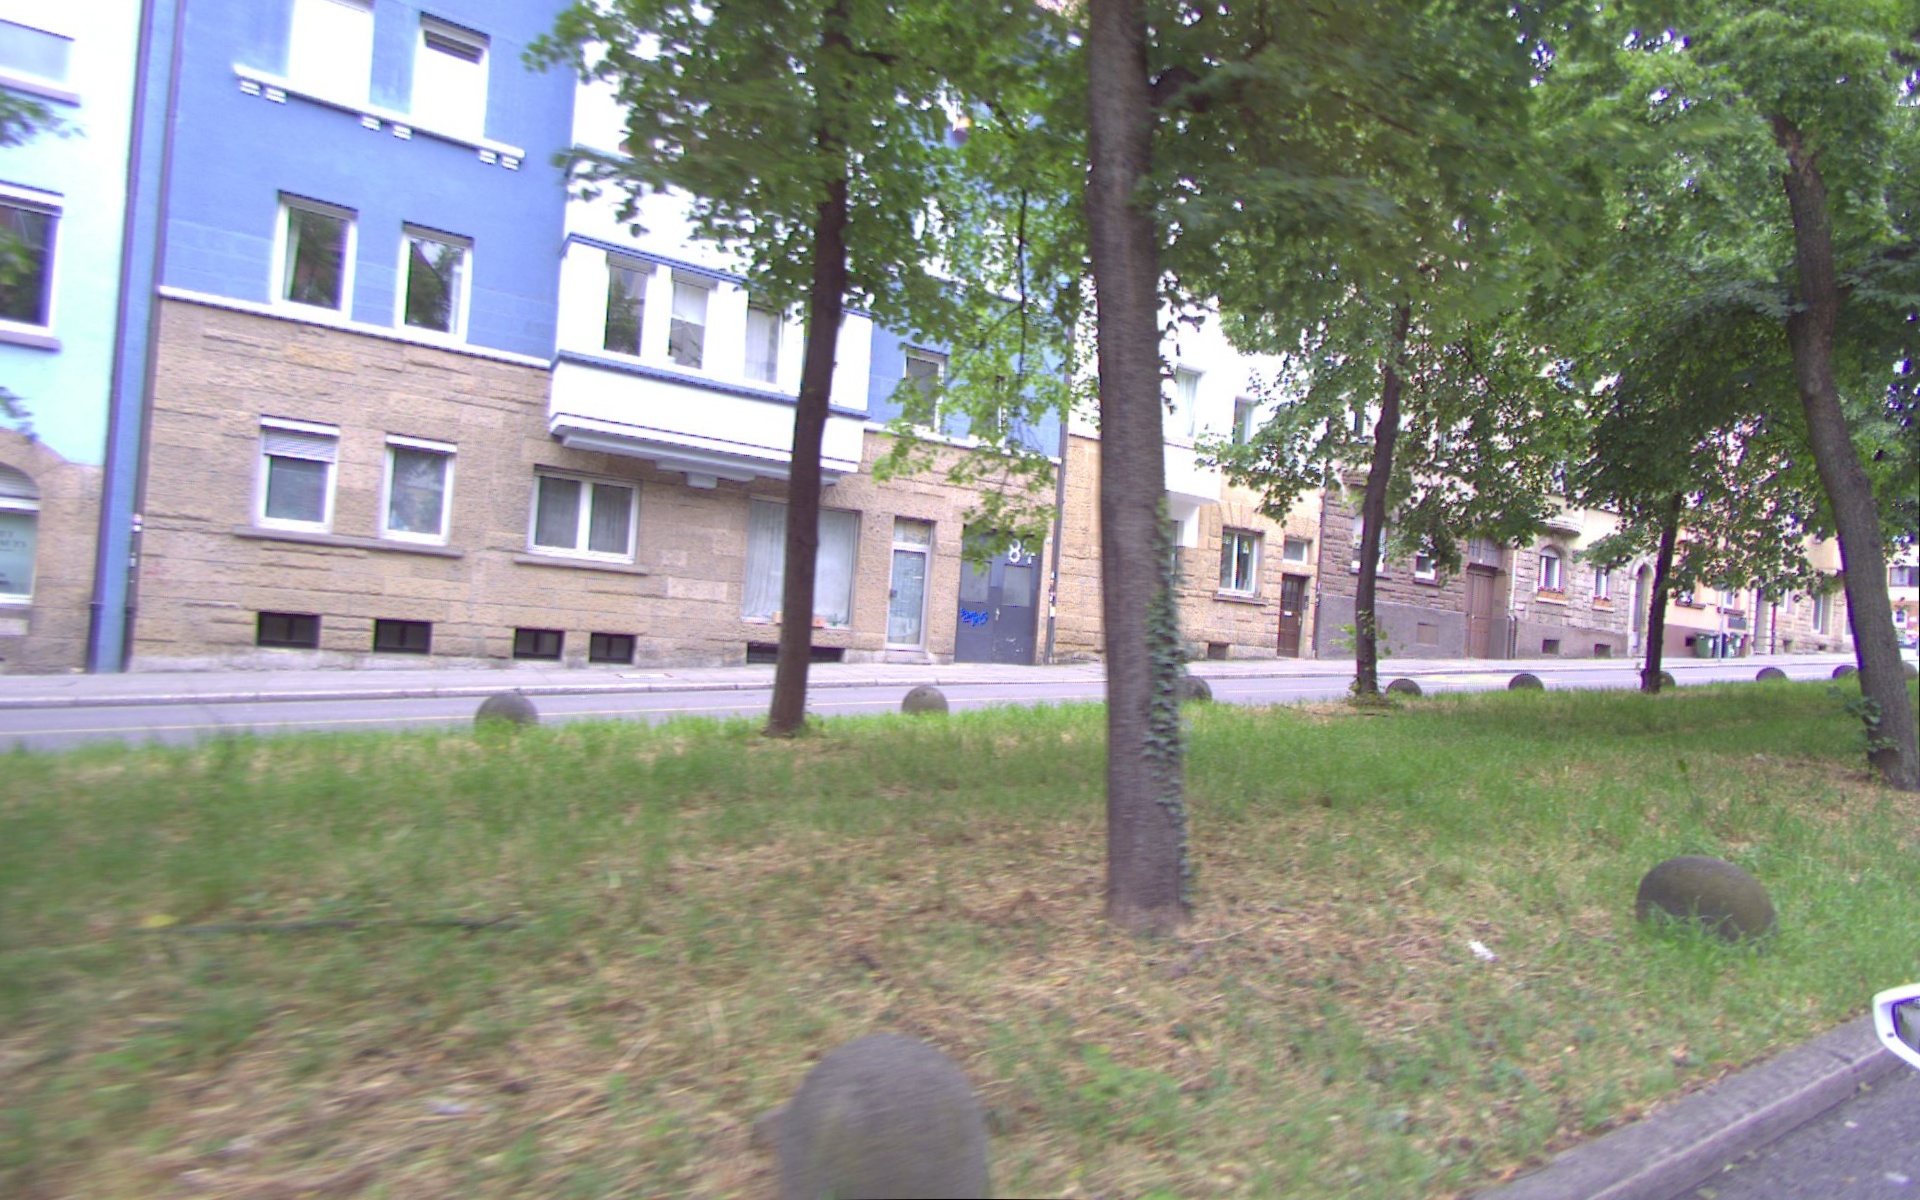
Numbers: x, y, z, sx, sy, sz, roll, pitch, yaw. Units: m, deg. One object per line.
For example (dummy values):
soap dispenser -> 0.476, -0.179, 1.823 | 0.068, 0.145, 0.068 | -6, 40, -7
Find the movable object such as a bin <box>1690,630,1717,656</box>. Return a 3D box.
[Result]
movable object such as a bin -> 26.920, 1.559, 36.375 | 0.595, 0.916, 0.605 | 2, 1, -34

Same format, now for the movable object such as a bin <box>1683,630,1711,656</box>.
movable object such as a bin -> 26.413, 1.540, 36.003 | 0.595, 0.916, 0.605 | 2, 1, -34

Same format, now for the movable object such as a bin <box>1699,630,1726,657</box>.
movable object such as a bin -> 27.519, 1.585, 36.743 | 0.595, 0.916, 0.605 | 2, 1, -34

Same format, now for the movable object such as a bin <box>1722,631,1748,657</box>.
movable object such as a bin -> 28.886, 1.643, 37.441 | 0.595, 0.916, 0.605 | 2, 1, -34

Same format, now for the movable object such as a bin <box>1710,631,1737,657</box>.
movable object such as a bin -> 28.223, 1.613, 37.145 | 0.595, 0.916, 0.605 | 2, 1, -34

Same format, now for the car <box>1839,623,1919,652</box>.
car -> 59.558, 2.408, 65.021 | 1.845, 1.687, 4.002 | 3, -1, 3
